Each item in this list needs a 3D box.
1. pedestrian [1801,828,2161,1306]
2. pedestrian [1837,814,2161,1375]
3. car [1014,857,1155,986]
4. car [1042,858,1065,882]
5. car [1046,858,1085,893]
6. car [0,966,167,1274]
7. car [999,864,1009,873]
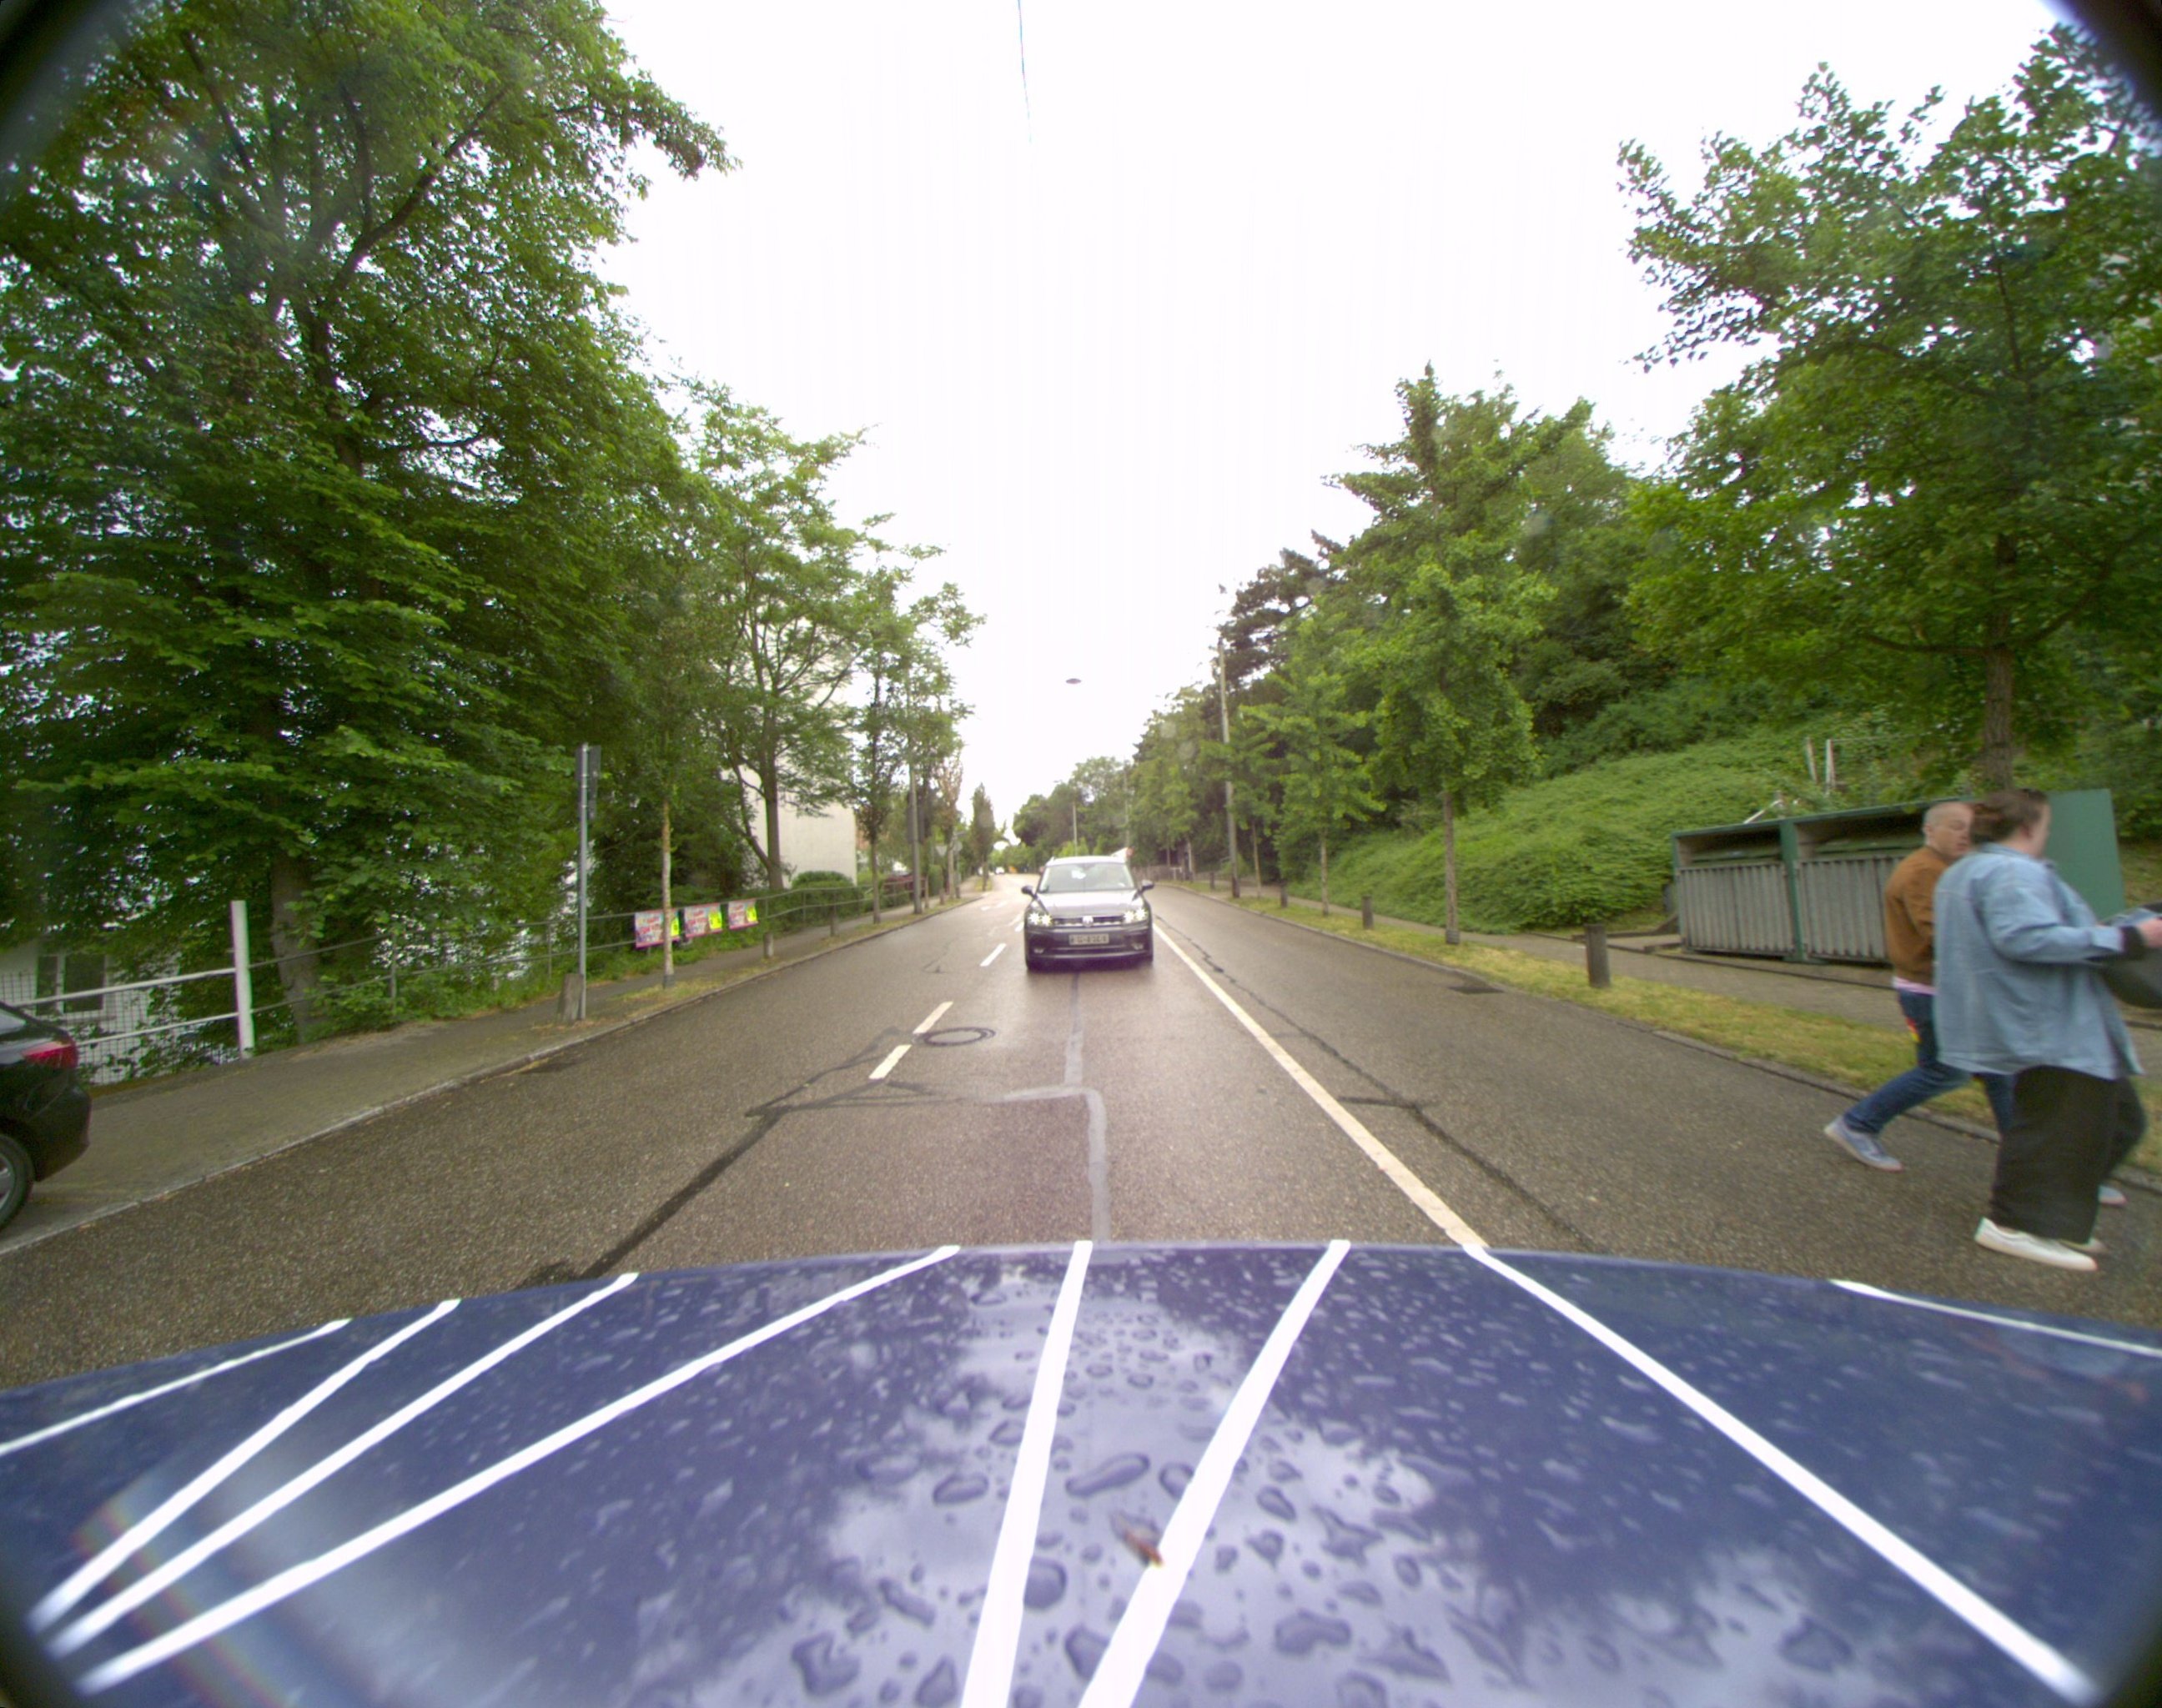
[{"bbox_3d":[4.094,0.783,3.349,0.824,1.772,1.073,-1,1,-1],"label":"pedestrian"},{"bbox_3d":[3.707,0.770,2.753,1.071,1.772,0.825,-4,1,23],"label":"pedestrian"},{"bbox_3d":[0.082,0.924,12.449,1.834,1.608,4.292,-3,1,1],"label":"car"},{"bbox_3d":[-2.582,1.471,69.997,1.835,2.003,4.055,-3,1,-5],"label":"car"},{"bbox_3d":[-0.764,1.084,40.304,1.834,1.608,4.350,-3,1,1],"label":"car"},{"bbox_3d":[-6.344,1.385,2.214,1.999,1.426,4.442,-1,0,-1],"label":"car"},{"bbox_3d":[-16.114,2.936,158.203,1.892,1.710,4.235,-1,1,-4],"label":"car"}]
